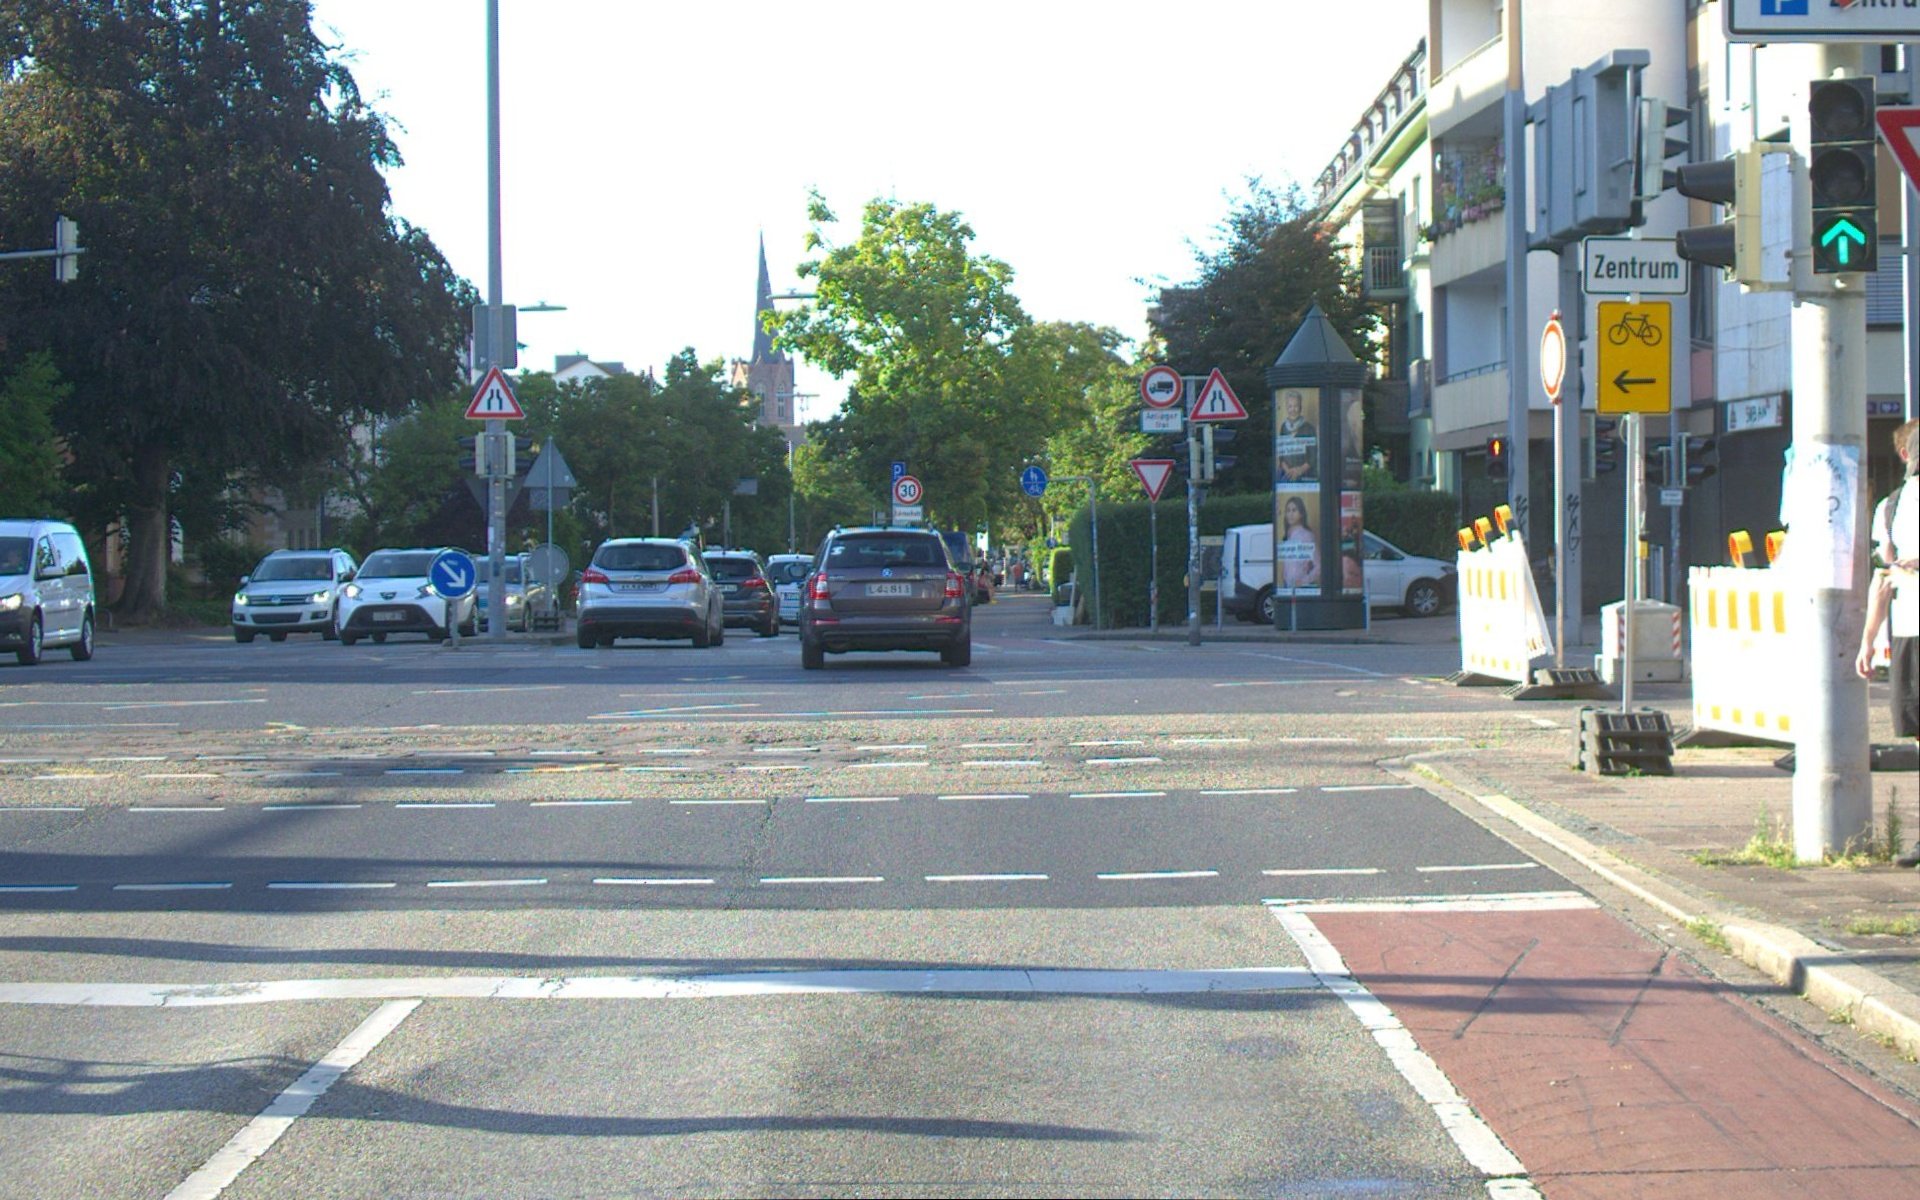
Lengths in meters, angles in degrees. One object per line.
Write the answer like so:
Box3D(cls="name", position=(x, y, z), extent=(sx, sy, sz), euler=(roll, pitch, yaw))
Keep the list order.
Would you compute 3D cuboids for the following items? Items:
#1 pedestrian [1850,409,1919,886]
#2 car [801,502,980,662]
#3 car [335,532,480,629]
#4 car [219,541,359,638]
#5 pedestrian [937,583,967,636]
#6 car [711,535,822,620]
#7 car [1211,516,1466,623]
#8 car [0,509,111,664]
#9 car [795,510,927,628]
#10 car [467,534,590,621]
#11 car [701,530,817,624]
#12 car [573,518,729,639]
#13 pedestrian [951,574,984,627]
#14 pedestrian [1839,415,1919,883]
Box3D(cls="pedestrian", position=(3.866, 0.170, 13.186), extent=(0.742, 1.793, 0.714), euler=(0, 1, 25))
Box3D(cls="car", position=(-0.686, -0.214, 36.002), extent=(1.748, 1.559, 4.050), euler=(-1, 1, 0))
Box3D(cls="car", position=(-8.756, -0.342, 54.750), extent=(1.847, 1.456, 4.050), euler=(-1, 1, -3))
Box3D(cls="car", position=(-11.968, -0.215, 61.544), extent=(1.880, 1.648, 4.050), euler=(-1, 1, -3))
Box3D(cls="pedestrian", position=(-0.252, 0.280, 104.749), extent=(0.862, 1.602, 0.705), euler=(-1, 1, -2))
Box3D(cls="car", position=(-3.768, -0.423, 67.432), extent=(1.993, 1.503, 4.000), euler=(-2, -1, -1))
Box3D(cls="car", position=(6.883, -0.570, 62.835), extent=(4.363, 1.871, 2.000), euler=(-1, 1, -2))
Box3D(cls="car", position=(-11.938, -0.193, 42.500), extent=(1.915, 1.805, 4.718), euler=(-1, 1, -3))
Box3D(cls="car", position=(-1.438, -0.467, 50.335), extent=(1.819, 1.634, 4.000), euler=(-1, 1, -1))
Box3D(cls="car", position=(-7.609, -0.423, 60.896), extent=(1.847, 1.456, 4.050), euler=(-1, 1, -3))
Box3D(cls="car", position=(-3.484, -0.429, 60.168), extent=(1.748, 1.559, 4.050), euler=(-1, 1, 0))
Box3D(cls="car", position=(-4.176, -0.325, 47.003), extent=(1.748, 1.559, 4.050), euler=(-1, 1, 0))
Box3D(cls="pedestrian", position=(0.284, 0.006, 133.639), extent=(1.209, 2.007, 1.422), euler=(-1, 1, -2))
Box3D(cls="pedestrian", position=(3.936, 0.188, 13.990), extent=(0.520, 1.862, 0.615), euler=(-1, 1, -3))
